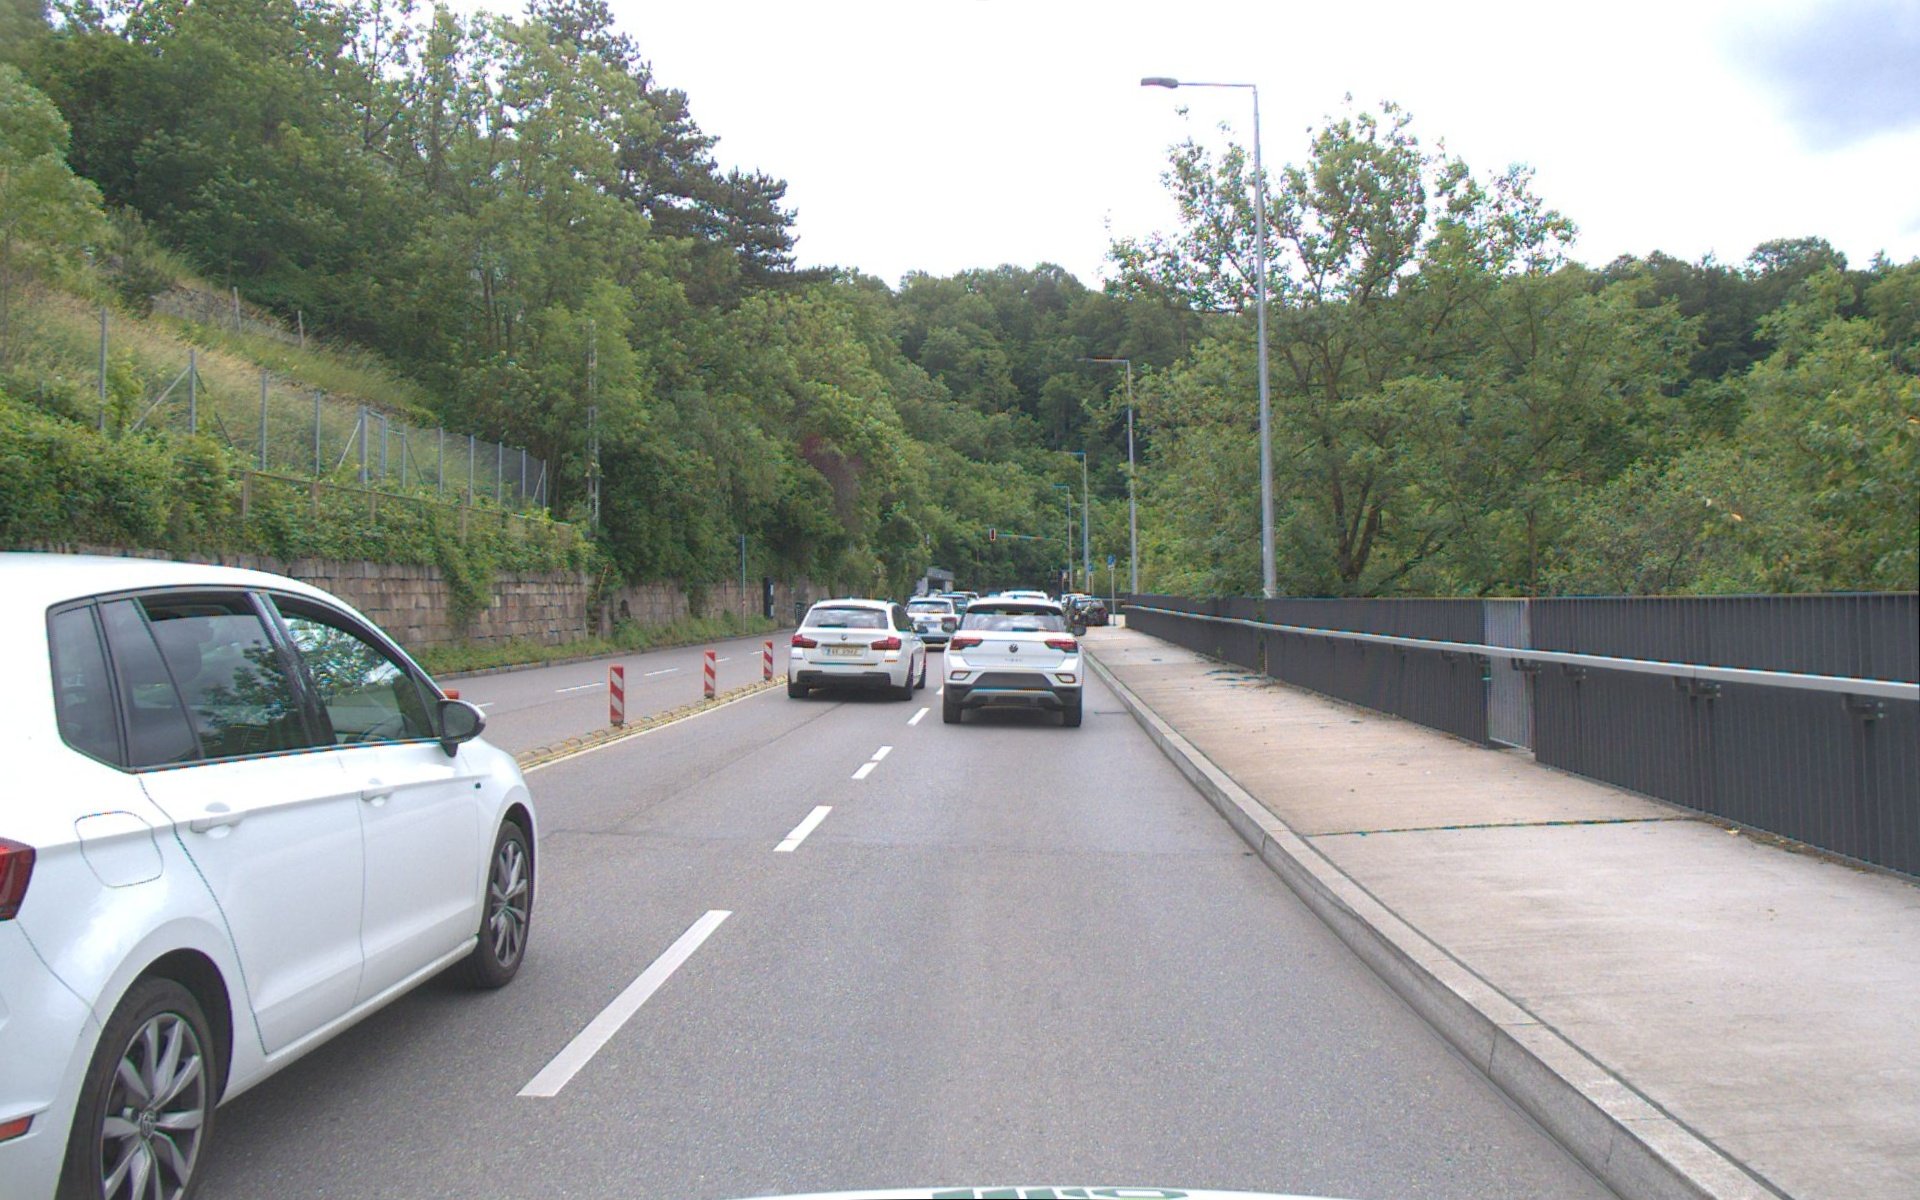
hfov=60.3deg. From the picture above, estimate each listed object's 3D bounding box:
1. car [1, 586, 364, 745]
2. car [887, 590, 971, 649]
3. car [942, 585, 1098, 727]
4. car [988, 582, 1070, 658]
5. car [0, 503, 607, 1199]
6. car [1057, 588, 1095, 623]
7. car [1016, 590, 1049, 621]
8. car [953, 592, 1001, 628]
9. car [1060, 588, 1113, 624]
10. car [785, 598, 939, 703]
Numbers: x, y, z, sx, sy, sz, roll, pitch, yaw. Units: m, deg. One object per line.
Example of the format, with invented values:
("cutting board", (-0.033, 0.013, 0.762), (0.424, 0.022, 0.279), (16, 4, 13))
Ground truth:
("car", (-8.376, 0.640, 18.315), (1.812, 1.542, 4.335), (0, 0, 2))
("car", (-0.824, 0.514, 47.057), (1.951, 1.529, 4.670), (0, 1, 4))
("car", (0.884, 0.672, 21.743), (1.789, 1.634, 4.002), (2, 0, 5))
("car", (1.774, 0.470, 42.234), (1.952, 1.748, 4.116), (1, 2, 3))
("car", (-2.501, 0.641, 4.881), (1.783, 1.608, 4.357), (0, 0, 3))
("car", (6.336, 0.267, 90.581), (1.952, 1.748, 4.116), (1, 2, 3))
("car", (4.722, 0.372, 107.931), (1.952, 1.892, 4.000), (2, 0, 1))
("car", (0.818, 0.422, 76.197), (1.951, 1.529, 4.670), (0, 1, 4))
("car", (5.525, 0.244, 72.696), (1.779, 1.534, 3.997), (1, 0, -4))
("car", (-1.428, 0.708, 25.725), (1.789, 1.485, 4.488), (0, 0, 4))
